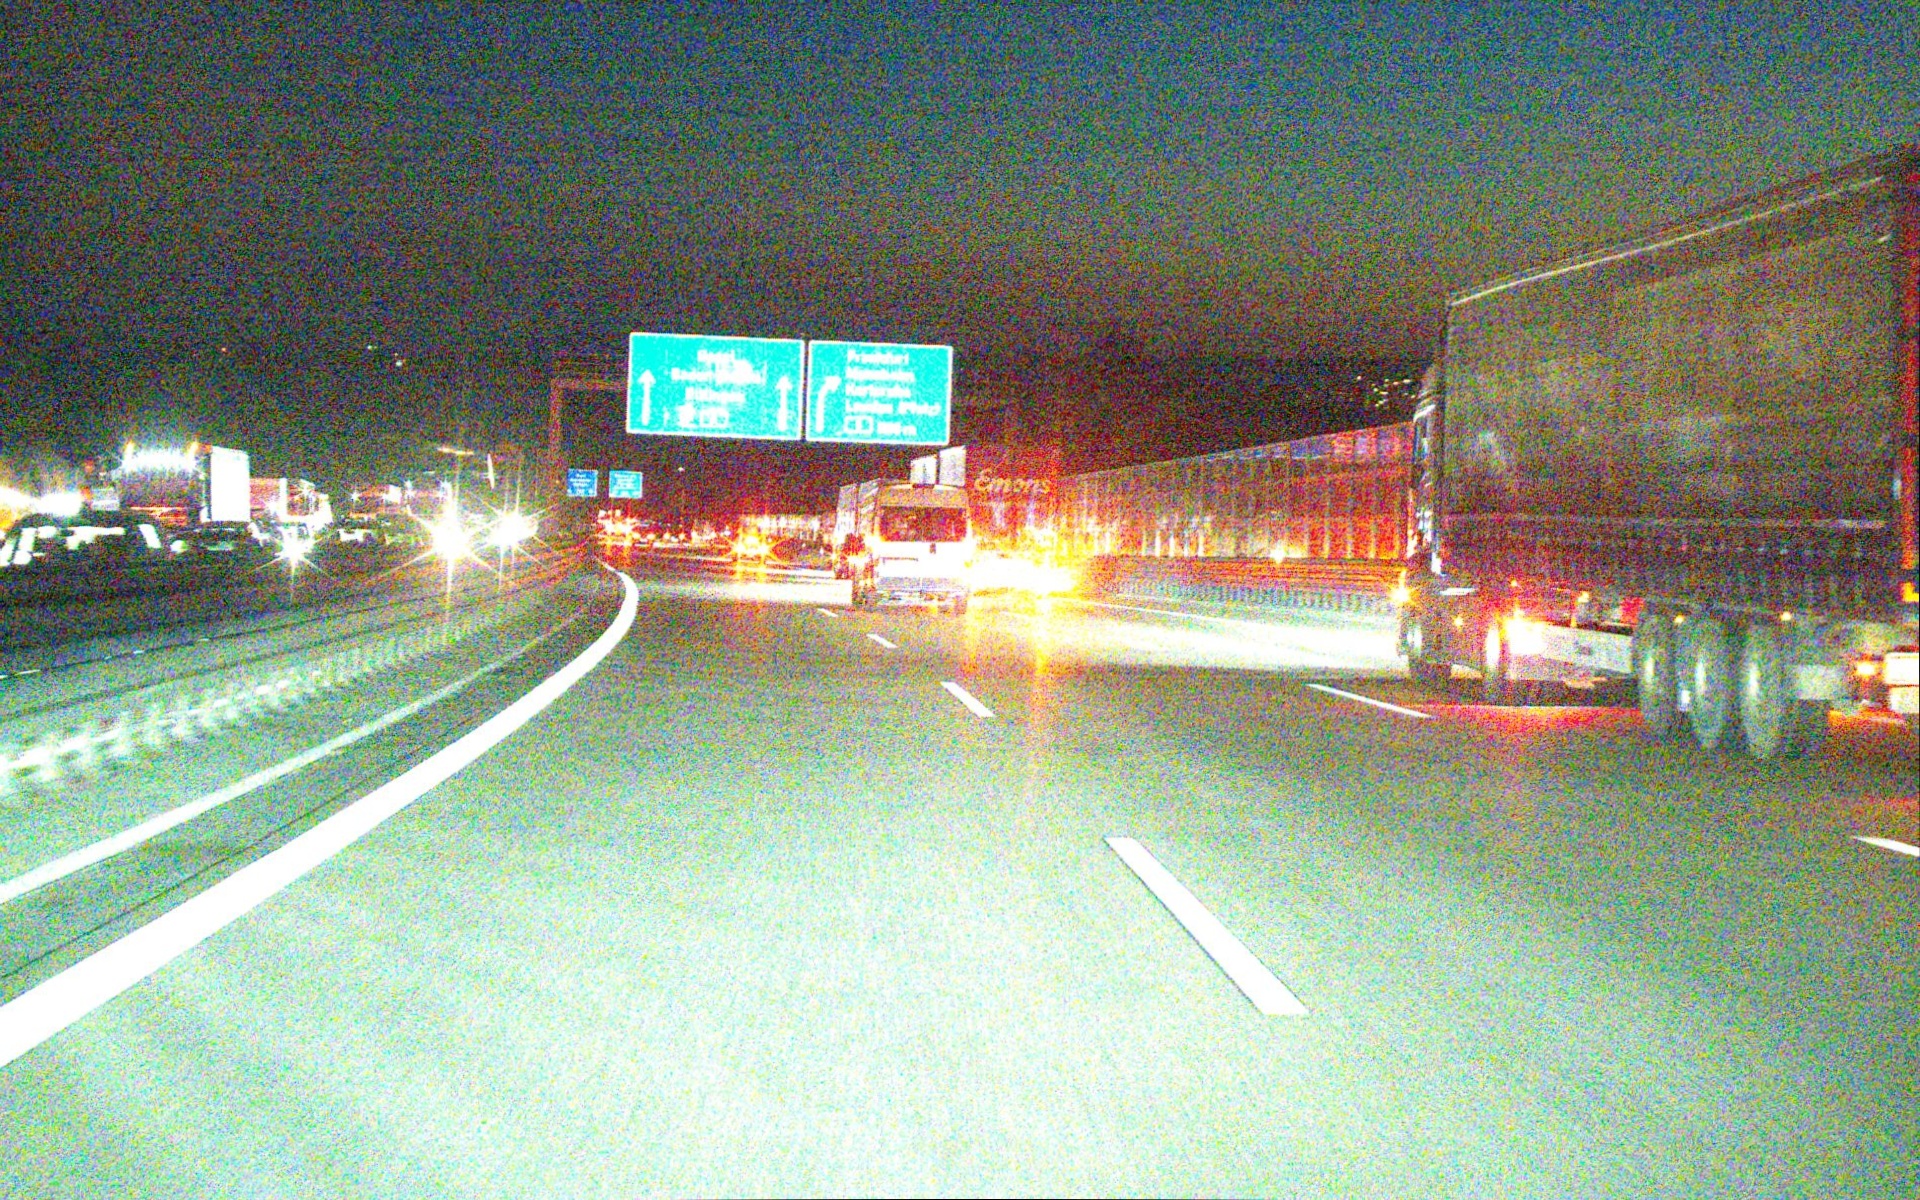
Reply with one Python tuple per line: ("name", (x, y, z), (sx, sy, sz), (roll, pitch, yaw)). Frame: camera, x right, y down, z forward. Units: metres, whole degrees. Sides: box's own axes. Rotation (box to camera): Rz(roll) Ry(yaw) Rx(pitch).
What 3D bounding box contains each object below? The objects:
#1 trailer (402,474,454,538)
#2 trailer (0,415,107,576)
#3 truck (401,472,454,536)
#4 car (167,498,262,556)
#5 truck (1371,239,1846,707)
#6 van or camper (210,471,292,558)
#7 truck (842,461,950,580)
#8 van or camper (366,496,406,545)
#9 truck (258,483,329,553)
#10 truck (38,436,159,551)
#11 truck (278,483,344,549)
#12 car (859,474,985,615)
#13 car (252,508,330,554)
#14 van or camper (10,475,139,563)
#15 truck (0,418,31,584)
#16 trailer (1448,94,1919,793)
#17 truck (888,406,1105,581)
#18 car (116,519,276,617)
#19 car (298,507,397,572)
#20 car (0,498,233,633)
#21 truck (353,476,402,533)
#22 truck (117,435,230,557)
("trailer", (-34.110, -5.998, 220.728), (2.885, 3.659, 12.220), (4, 0, -8))
("trailer", (-20.487, -2.204, 73.597), (2.606, 3.165, 9.004), (4, 0, -4))
("truck", (-33.305, -5.950, 215.102), (2.873, 3.661, 6.781), (4, 0, -7))
("car", (-18.408, -1.789, 85.053), (1.570, 1.349, 4.000), (2, 1, -2))
("truck", (6.110, -1.178, 33.756), (2.861, 4.063, 7.512), (0, 1, -3))
("van or camper", (-27.855, -3.333, 135.302), (2.432, 3.261, 7.395), (2, 1, -7))
("truck", (-2.713, -3.257, 140.694), (3.344, 4.460, 13.912), (3, 1, -5))
("van or camper", (-32.260, -4.462, 193.298), (2.083, 2.623, 7.607), (2, 1, -10))
("truck", (-30.564, -3.747, 157.922), (2.555, 2.975, 7.454), (2, 0, -7))
("truck", (-29.305, -3.536, 117.334), (2.393, 3.615, 11.183), (2, 0, -6))
("truck", (-31.473, -4.048, 166.983), (2.555, 2.975, 7.454), (2, 0, -7))
("car", (-0.719, -1.061, 69.116), (2.337, 2.631, 5.247), (2, -1, 0))
("car", (-20.678, -2.122, 106.348), (1.796, 1.349, 4.240), (2, 1, -4))
("van or camper", (-21.860, -1.990, 85.141), (2.186, 2.007, 7.644), (2, 1, -8))
("truck", (-20.017, -2.009, 66.559), (2.643, 3.208, 5.796), (4, 0, -4))
("trailer", (6.470, -1.030, 26.601), (2.854, 4.053, 13.207), (0, 1, -3))
("truck", (0.749, -2.894, 101.133), (3.914, 4.611, 21.022), (0, 0, -6))
("car", (-11.275, -0.492, 50.930), (1.570, 1.349, 4.000), (2, 1, -2))
("car", (-13.559, -1.347, 76.223), (1.570, 1.349, 4.000), (2, 1, -2))
("car", (-9.862, -0.422, 39.904), (1.874, 1.421, 4.513), (2, 1, 0))
("truck", (-39.229, -6.442, 231.575), (2.873, 3.661, 6.053), (3, 1, -11))
("truck", (-23.923, -3.131, 104.802), (2.403, 3.502, 6.725), (2, 1, -6))
